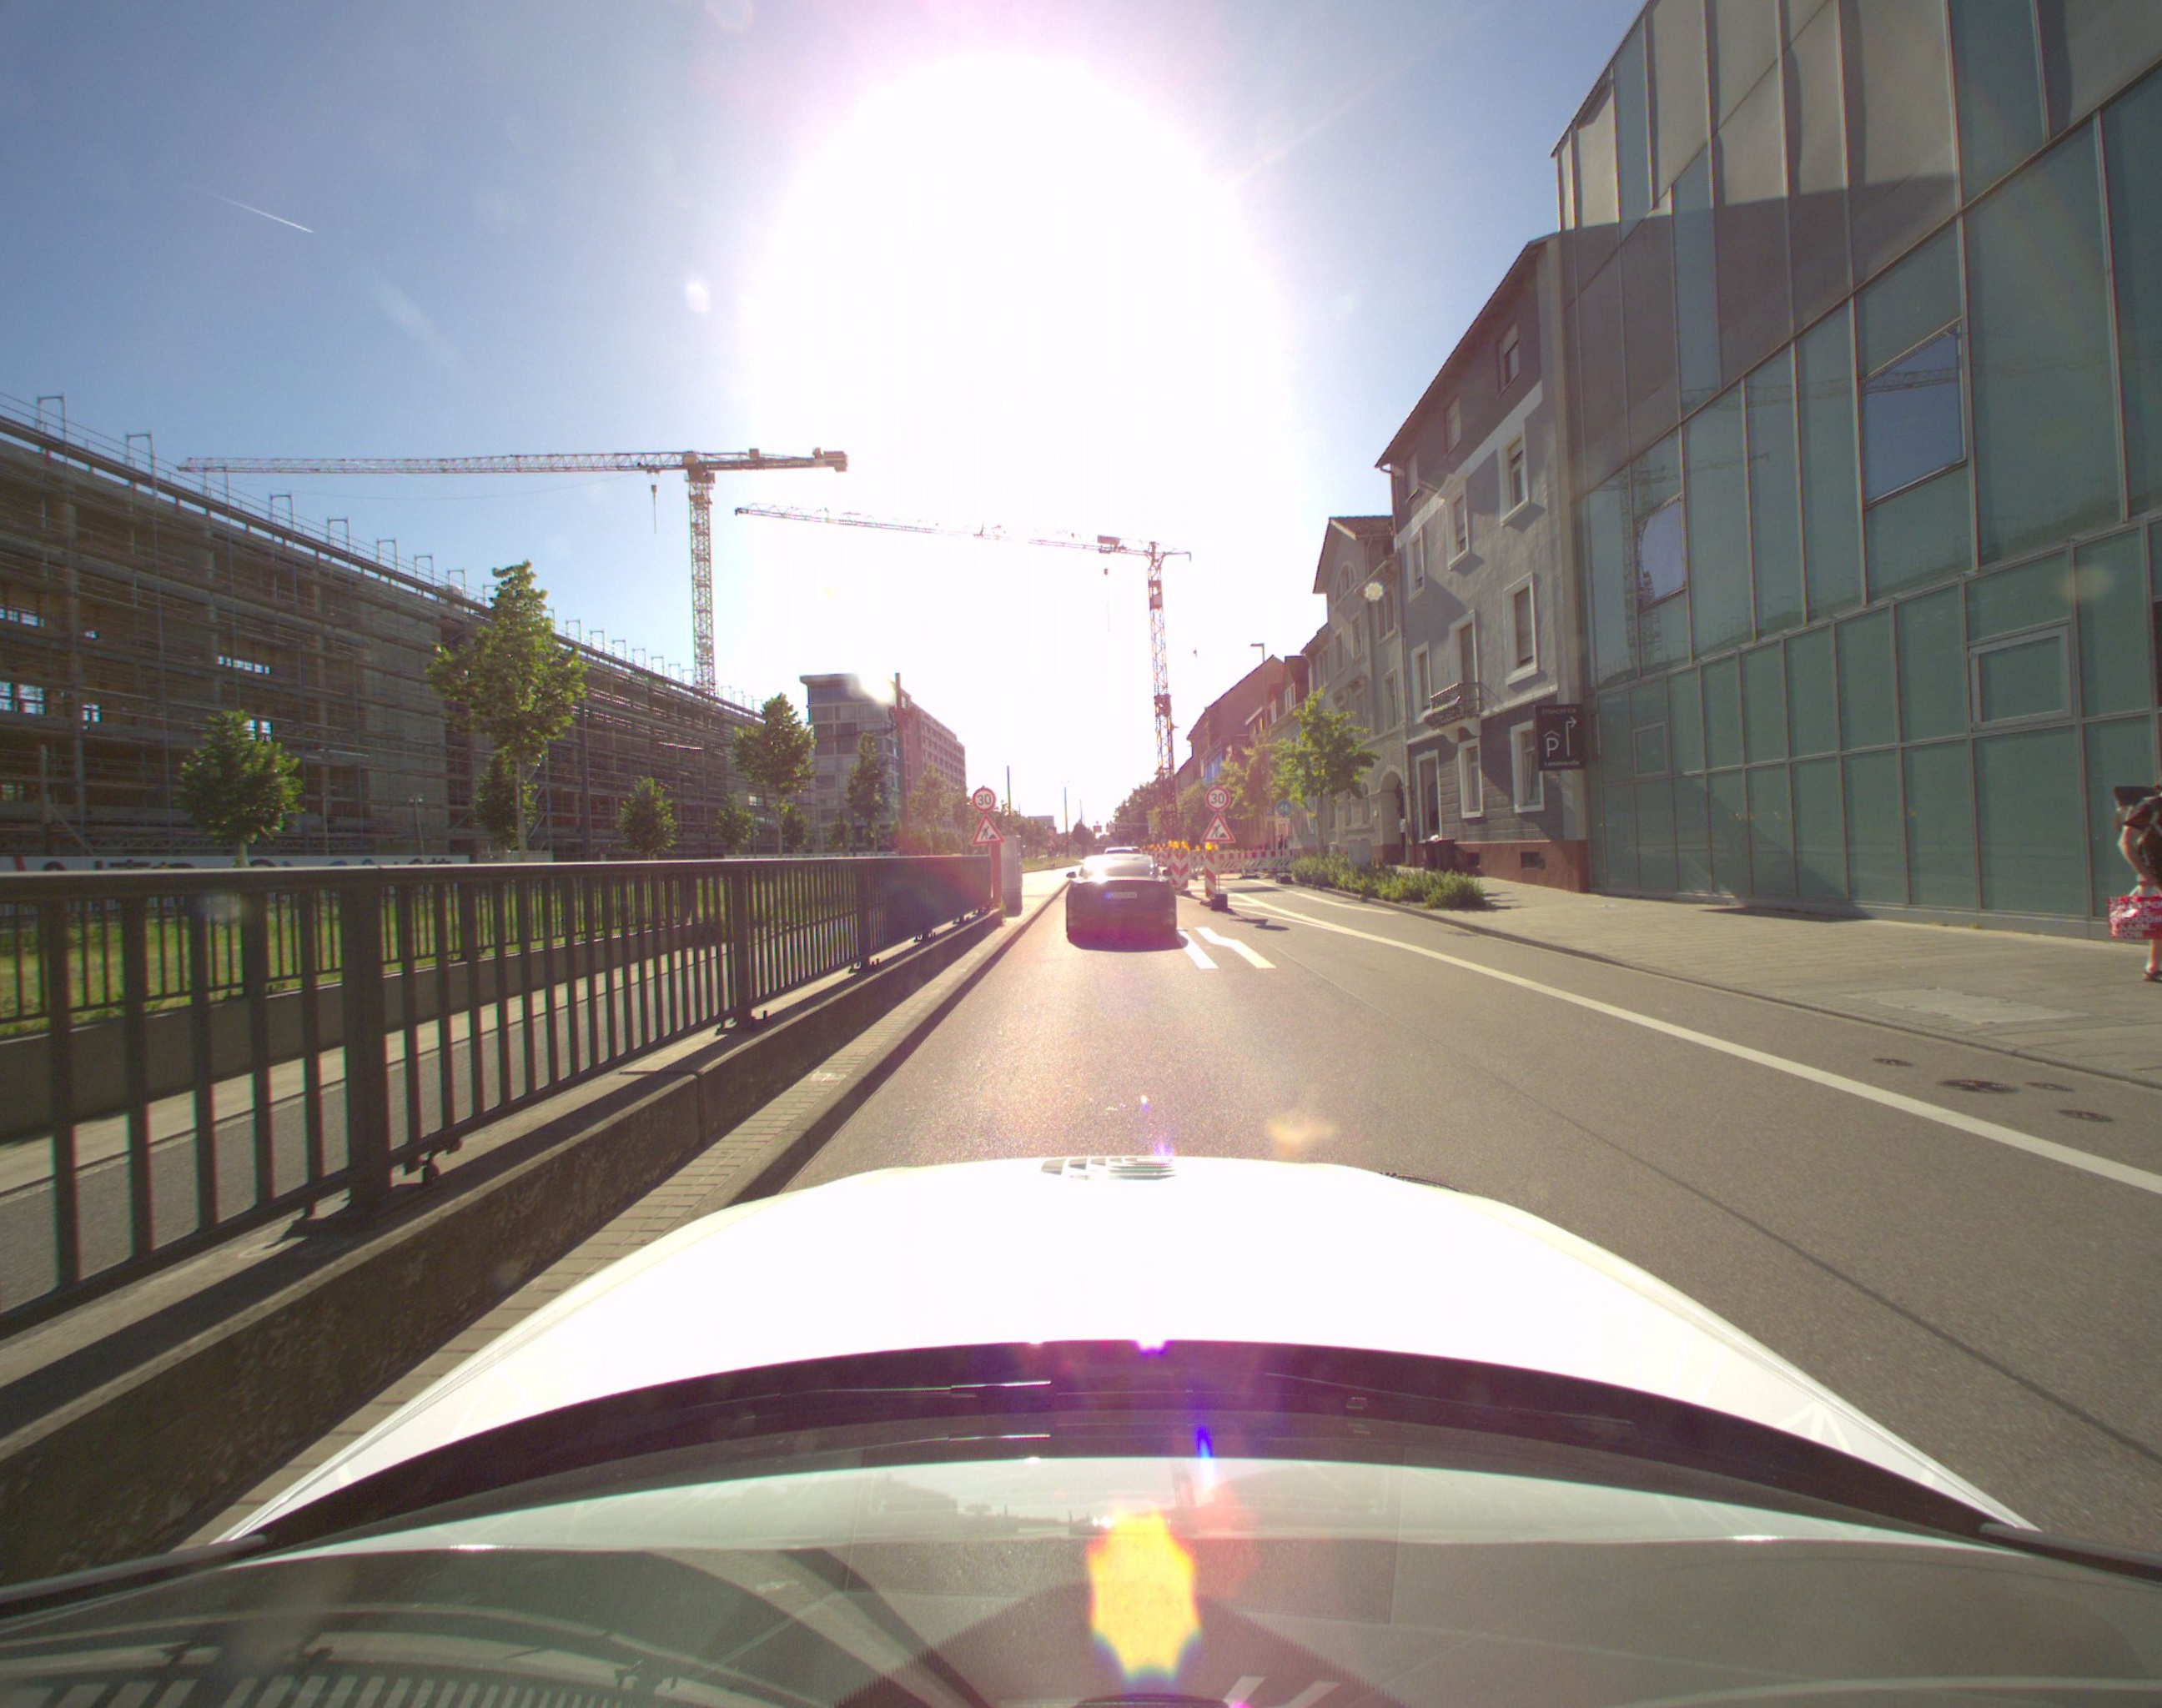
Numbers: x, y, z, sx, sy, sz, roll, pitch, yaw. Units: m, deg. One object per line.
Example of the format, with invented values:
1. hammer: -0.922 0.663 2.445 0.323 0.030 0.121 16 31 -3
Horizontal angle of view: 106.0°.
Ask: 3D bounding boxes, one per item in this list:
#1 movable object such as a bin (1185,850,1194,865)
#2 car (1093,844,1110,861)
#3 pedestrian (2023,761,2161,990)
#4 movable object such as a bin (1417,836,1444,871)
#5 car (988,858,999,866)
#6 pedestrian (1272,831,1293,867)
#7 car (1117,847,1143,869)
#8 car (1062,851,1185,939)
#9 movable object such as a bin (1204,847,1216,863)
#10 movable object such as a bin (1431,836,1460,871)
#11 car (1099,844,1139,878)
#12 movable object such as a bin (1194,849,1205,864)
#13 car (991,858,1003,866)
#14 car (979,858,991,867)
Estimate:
1. movable object such as a bin: 8.081 0.253 60.508 0.585 1.058 0.731 -2 0 3
2. car: 2.880 -0.264 114.216 2.210 2.267 4.485 -1 0 1
3. pedestrian: 9.545 0.150 7.358 0.872 1.924 0.896 -5 0 1
4. movable object such as a bin: 11.491 -0.030 26.766 0.586 1.108 0.704 -2 0 3
5. car: -19.135 1.800 178.699 1.783 1.651 4.003 -3 0 3
6. pedestrian: 10.941 -0.251 44.208 0.794 1.928 0.766 -2 0 -15
7. car: 3.499 0.275 58.754 1.742 1.527 4.007 -2 0 3
8. car: 0.784 0.680 15.957 2.043 1.444 4.526 -1 0 2
9. movable object such as a bin: 9.600 0.074 60.566 0.586 1.057 0.783 -7 0 -2
10. movable object such as a bin: 11.619 -0.012 25.945 0.600 1.082 0.704 -2 0 3
11. car: 1.740 0.291 38.057 1.741 1.427 4.840 -2 0 2
12. movable object such as a bin: 8.836 0.164 60.734 0.593 1.057 0.731 -6 0 3
13. car: -17.121 1.655 166.833 1.783 1.651 4.003 -3 0 3
14. car: -19.896 1.766 169.037 1.783 1.651 4.003 -3 0 3
